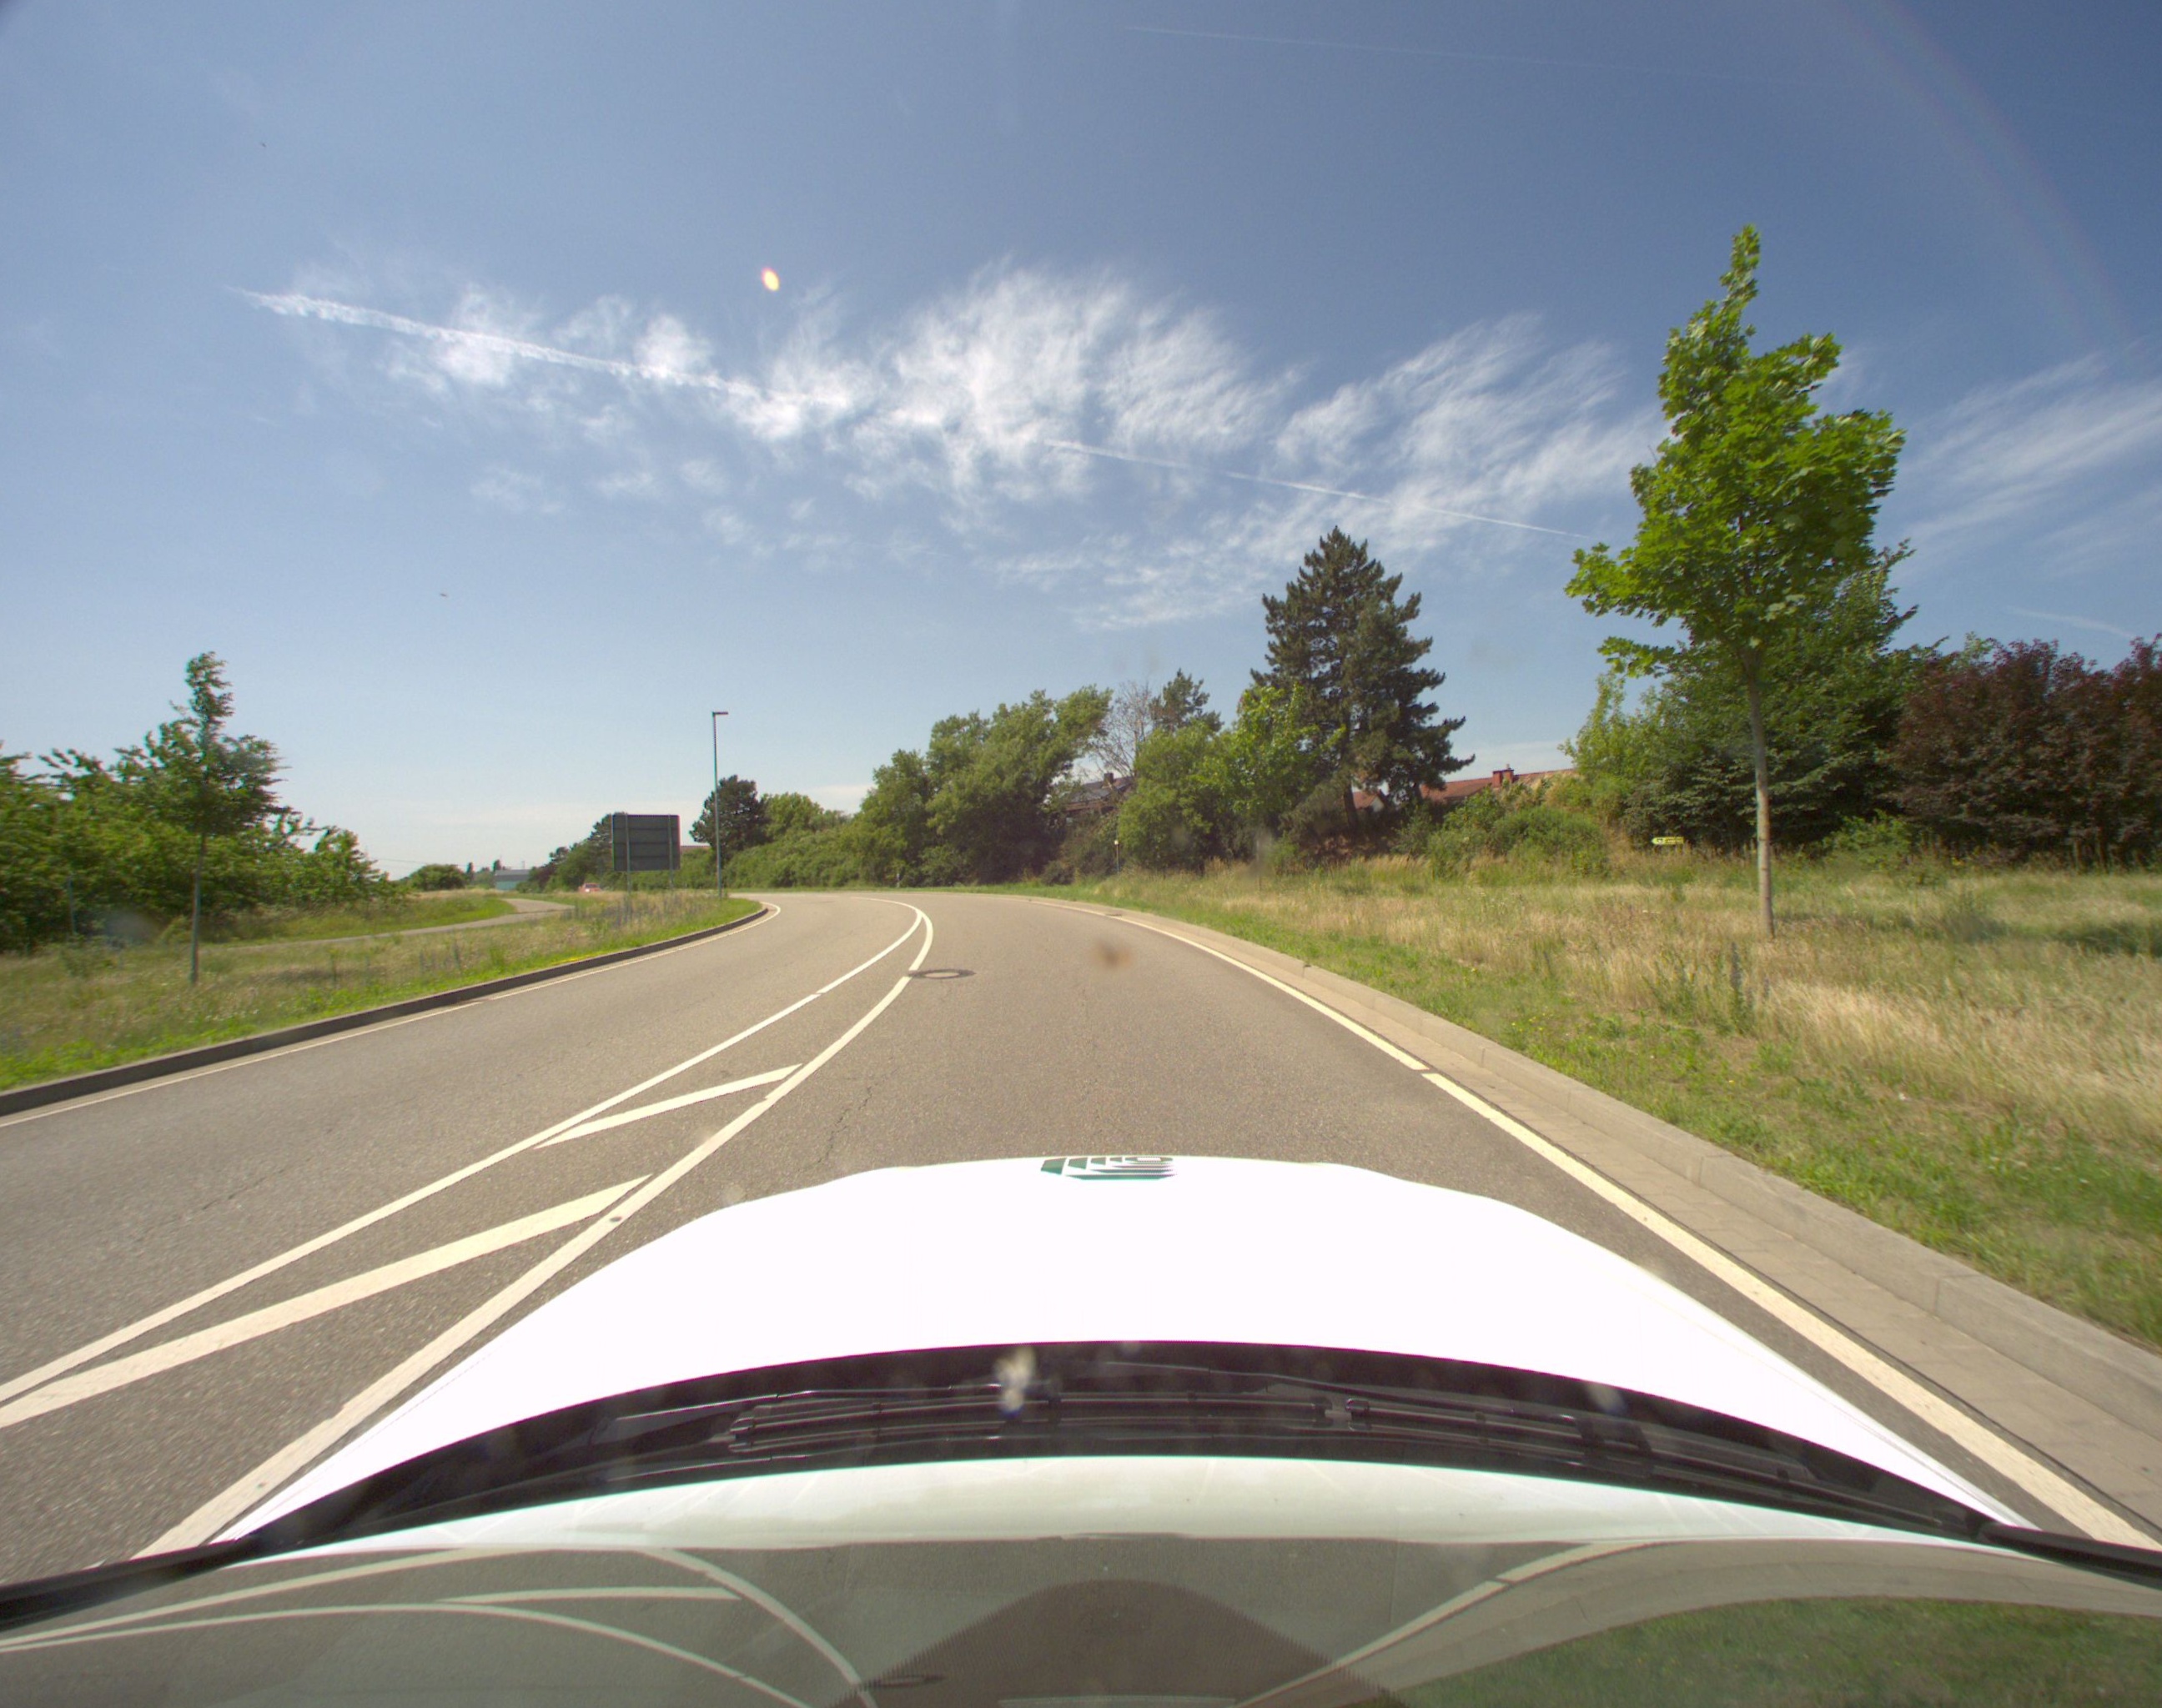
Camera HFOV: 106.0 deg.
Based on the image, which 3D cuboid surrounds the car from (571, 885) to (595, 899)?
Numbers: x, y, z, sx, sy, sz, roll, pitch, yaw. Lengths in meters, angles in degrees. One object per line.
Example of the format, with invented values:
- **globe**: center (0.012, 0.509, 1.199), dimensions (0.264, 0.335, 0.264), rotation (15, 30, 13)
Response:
- **car**: center (-56.508, 4.341, 92.370), dimensions (1.669, 1.433, 3.691), rotation (-3, 0, -41)
